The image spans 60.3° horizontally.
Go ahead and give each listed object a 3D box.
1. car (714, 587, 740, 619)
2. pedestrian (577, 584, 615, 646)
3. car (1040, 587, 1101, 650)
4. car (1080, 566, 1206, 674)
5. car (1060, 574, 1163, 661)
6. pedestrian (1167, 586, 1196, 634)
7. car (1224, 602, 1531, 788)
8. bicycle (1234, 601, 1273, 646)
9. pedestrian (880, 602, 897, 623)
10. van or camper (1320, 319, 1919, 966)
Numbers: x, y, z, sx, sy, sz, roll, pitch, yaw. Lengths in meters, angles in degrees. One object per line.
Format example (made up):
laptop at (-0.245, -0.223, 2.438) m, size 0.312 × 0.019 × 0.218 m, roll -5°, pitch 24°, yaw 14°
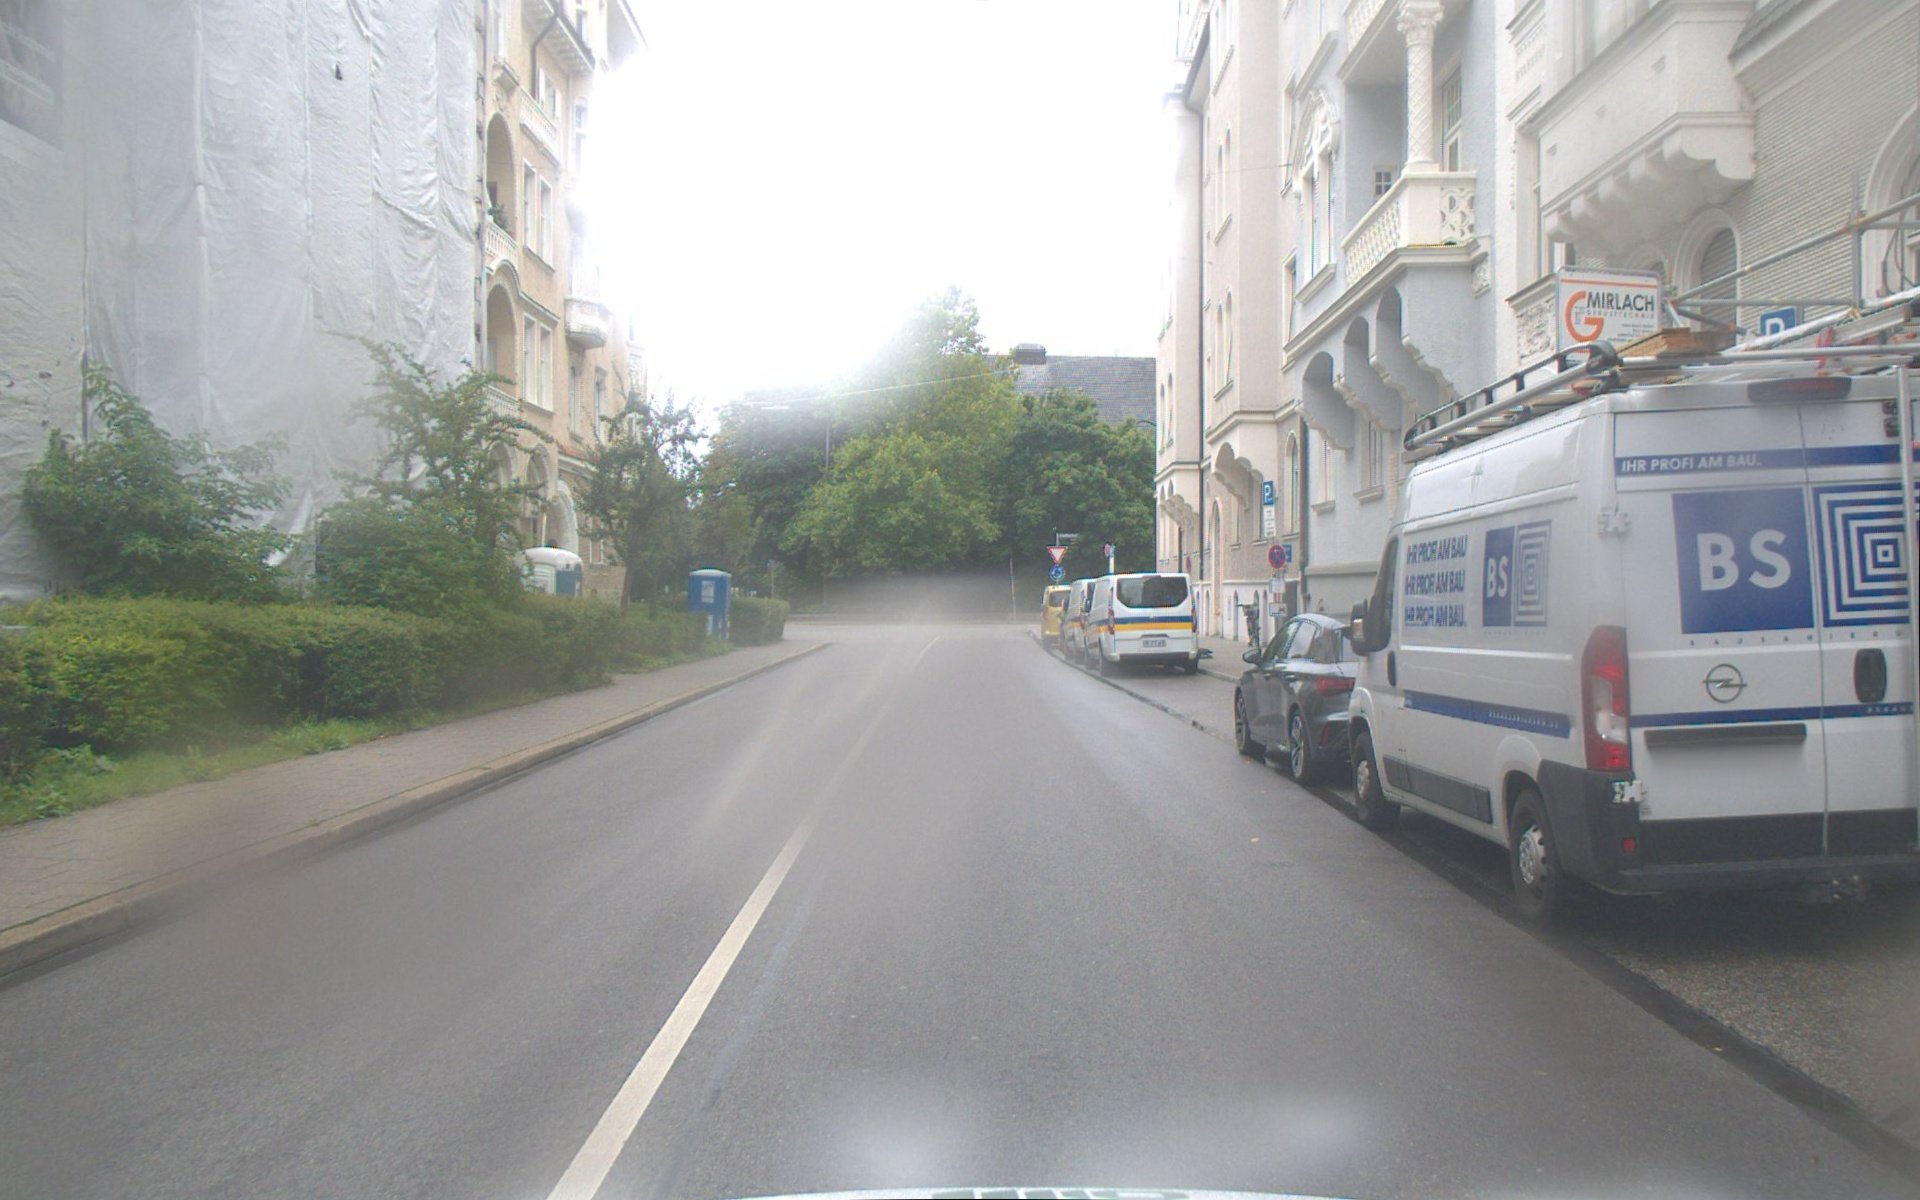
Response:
car at (-19.418, 0.277, 137.892) m, size 2.004 × 2.603 × 5.236 m, roll 0°, pitch 0°, yaw -9°
pedestrian at (-10.707, 0.432, 48.634) m, size 0.895 × 1.782 × 0.948 m, roll -1°, pitch 0°, yaw 0°
car at (3.409, 0.547, 51.660) m, size 1.811 × 1.885 × 4.822 m, roll 0°, pitch 0°, yaw 3°
car at (3.705, 0.380, 34.294) m, size 1.920 × 2.049 × 4.991 m, roll -1°, pitch 0°, yaw -2°
car at (3.618, 0.403, 40.388) m, size 1.920 × 1.971 × 4.991 m, roll -1°, pitch 0°, yaw -2°
pedestrian at (8.384, 0.370, 62.574) m, size 0.688 × 1.767 × 0.724 m, roll -1°, pitch -3°, yaw -44°
car at (3.655, 0.755, 15.222) m, size 1.718 × 1.459 × 4.086 m, roll -1°, pitch 0°, yaw -1°
bicycle at (7.819, 0.614, 44.107) m, size 0.680 × 1.113 × 2.037 m, roll -2°, pitch 0°, yaw 1°
pedestrian at (-4.007, 0.701, 92.727) m, size 0.794 × 1.210 × 0.920 m, roll 0°, pitch 0°, yaw 6°
van or camper at (3.641, 0.175, 9.608) m, size 1.913 × 2.683 × 5.458 m, roll 0°, pitch 0°, yaw 0°
